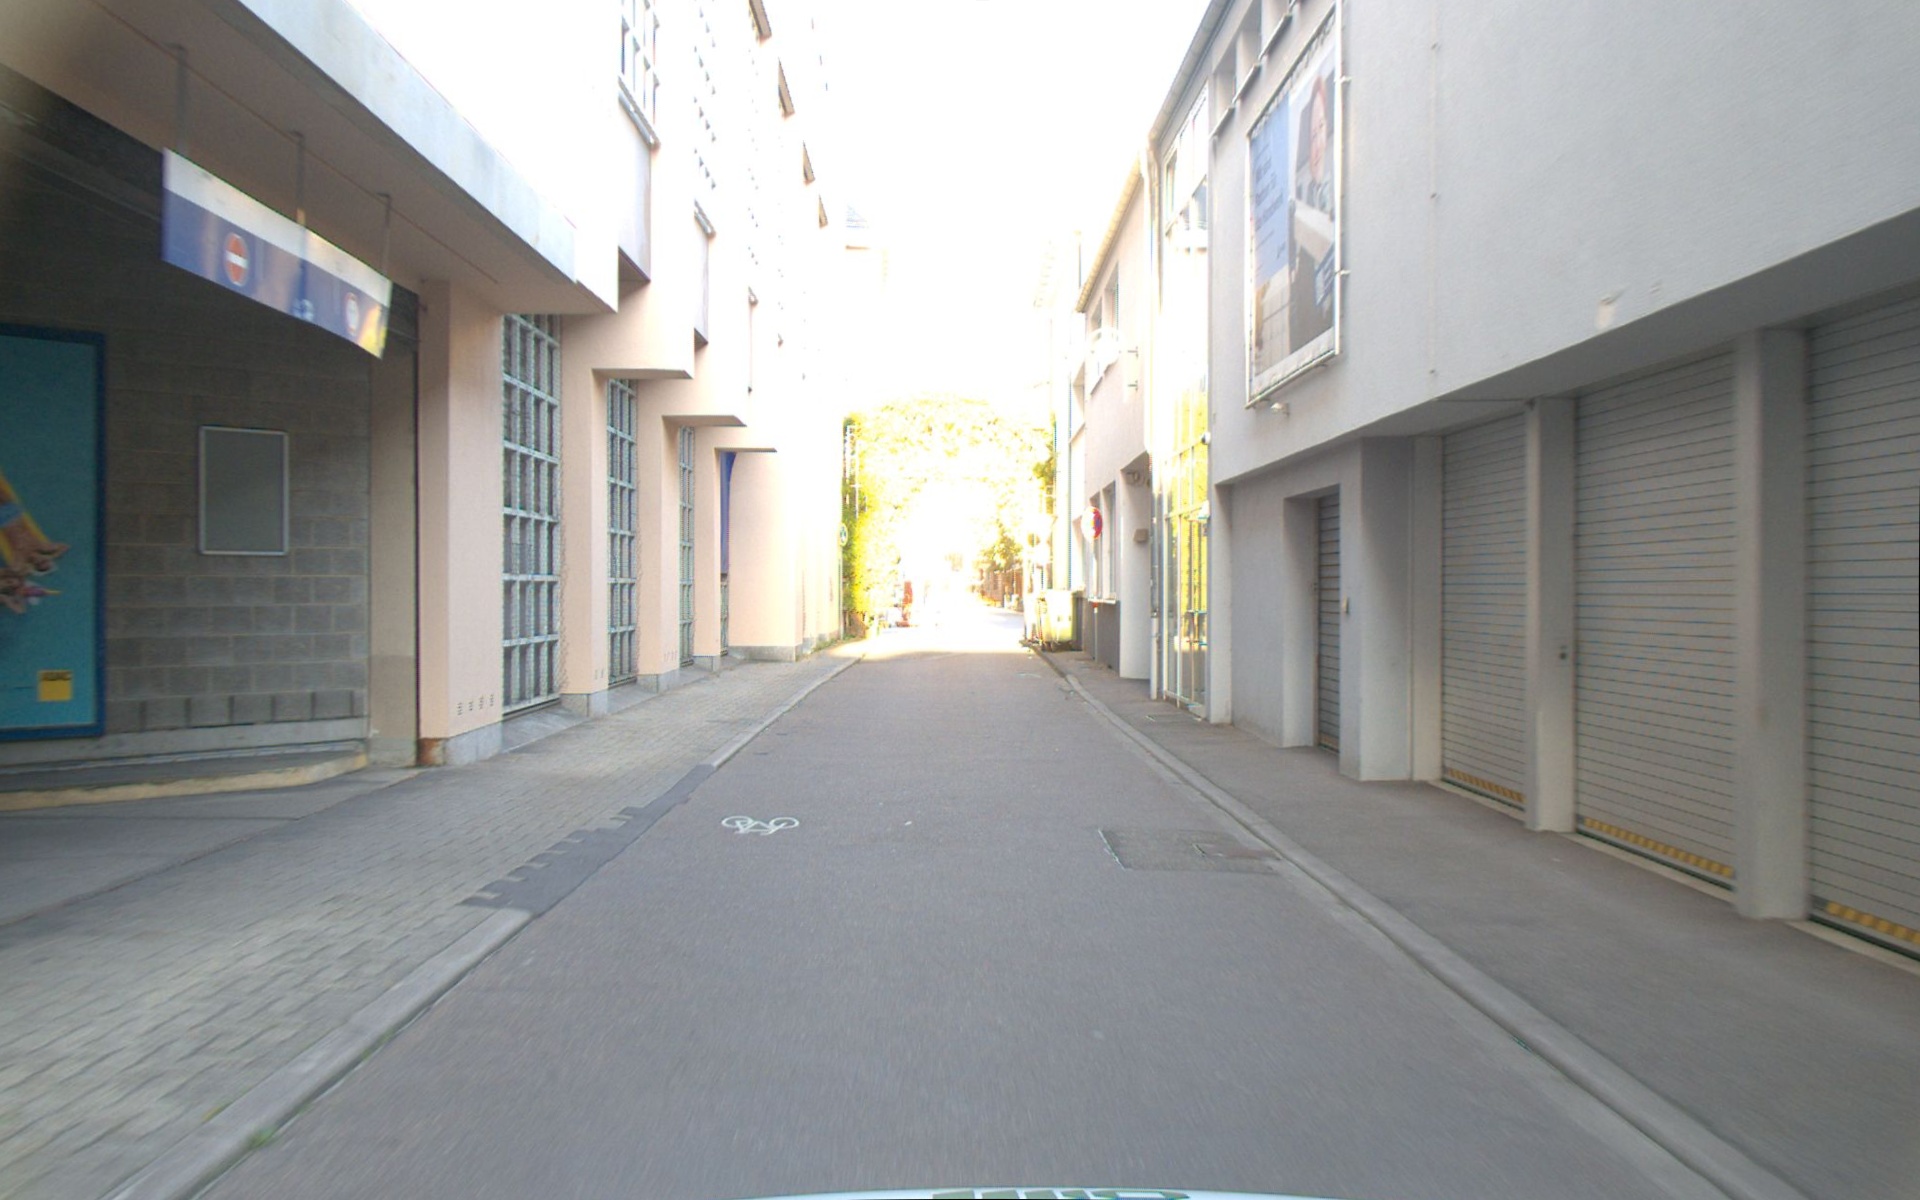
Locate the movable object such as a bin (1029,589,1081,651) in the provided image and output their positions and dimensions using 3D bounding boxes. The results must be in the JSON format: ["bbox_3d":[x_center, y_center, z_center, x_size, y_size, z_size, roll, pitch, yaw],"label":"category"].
[{"bbox_3d":[2.222,0.455,38.780,1.043,1.390,1.341,-2,0,-2],"label":"movable object such as a bin"}]

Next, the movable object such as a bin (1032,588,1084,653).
[{"bbox_3d":[2.201,0.453,37.375,0.919,1.390,1.340,-2,0,-6],"label":"movable object such as a bin"}]

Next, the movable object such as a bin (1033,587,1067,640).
[{"bbox_3d":[2.369,0.350,43.432,0.818,1.327,1.290,-2,0,3],"label":"movable object such as a bin"}]
